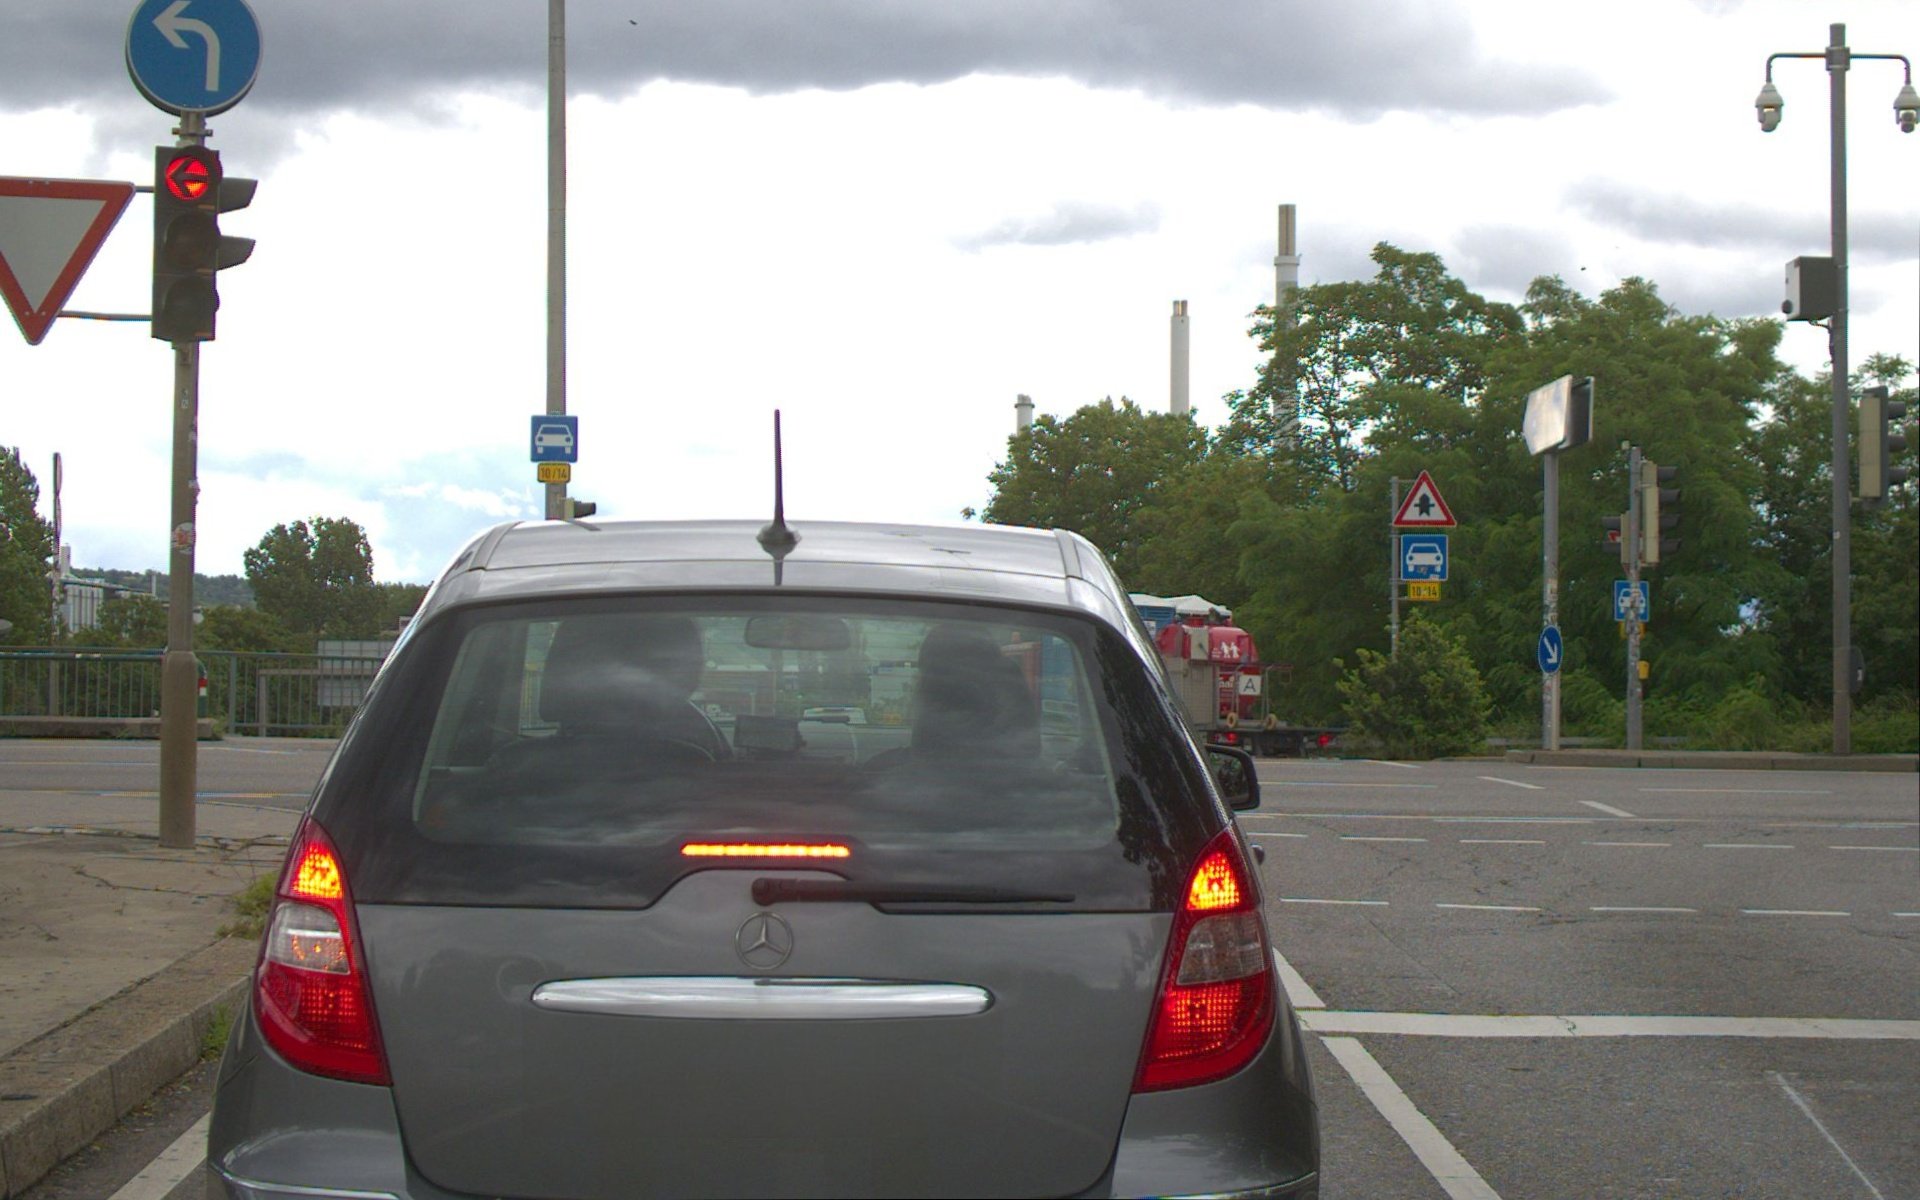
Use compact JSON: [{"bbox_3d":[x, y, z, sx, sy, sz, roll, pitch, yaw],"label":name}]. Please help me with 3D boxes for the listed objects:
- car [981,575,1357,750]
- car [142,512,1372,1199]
[{"bbox_3d":[3.281,1.050,56.520,2.438,2.672,7.764,1,-2,-28],"label":"car"},{"bbox_3d":[-0.307,0.637,6.670,1.739,1.538,3.541,1,1,0],"label":"car"}]
